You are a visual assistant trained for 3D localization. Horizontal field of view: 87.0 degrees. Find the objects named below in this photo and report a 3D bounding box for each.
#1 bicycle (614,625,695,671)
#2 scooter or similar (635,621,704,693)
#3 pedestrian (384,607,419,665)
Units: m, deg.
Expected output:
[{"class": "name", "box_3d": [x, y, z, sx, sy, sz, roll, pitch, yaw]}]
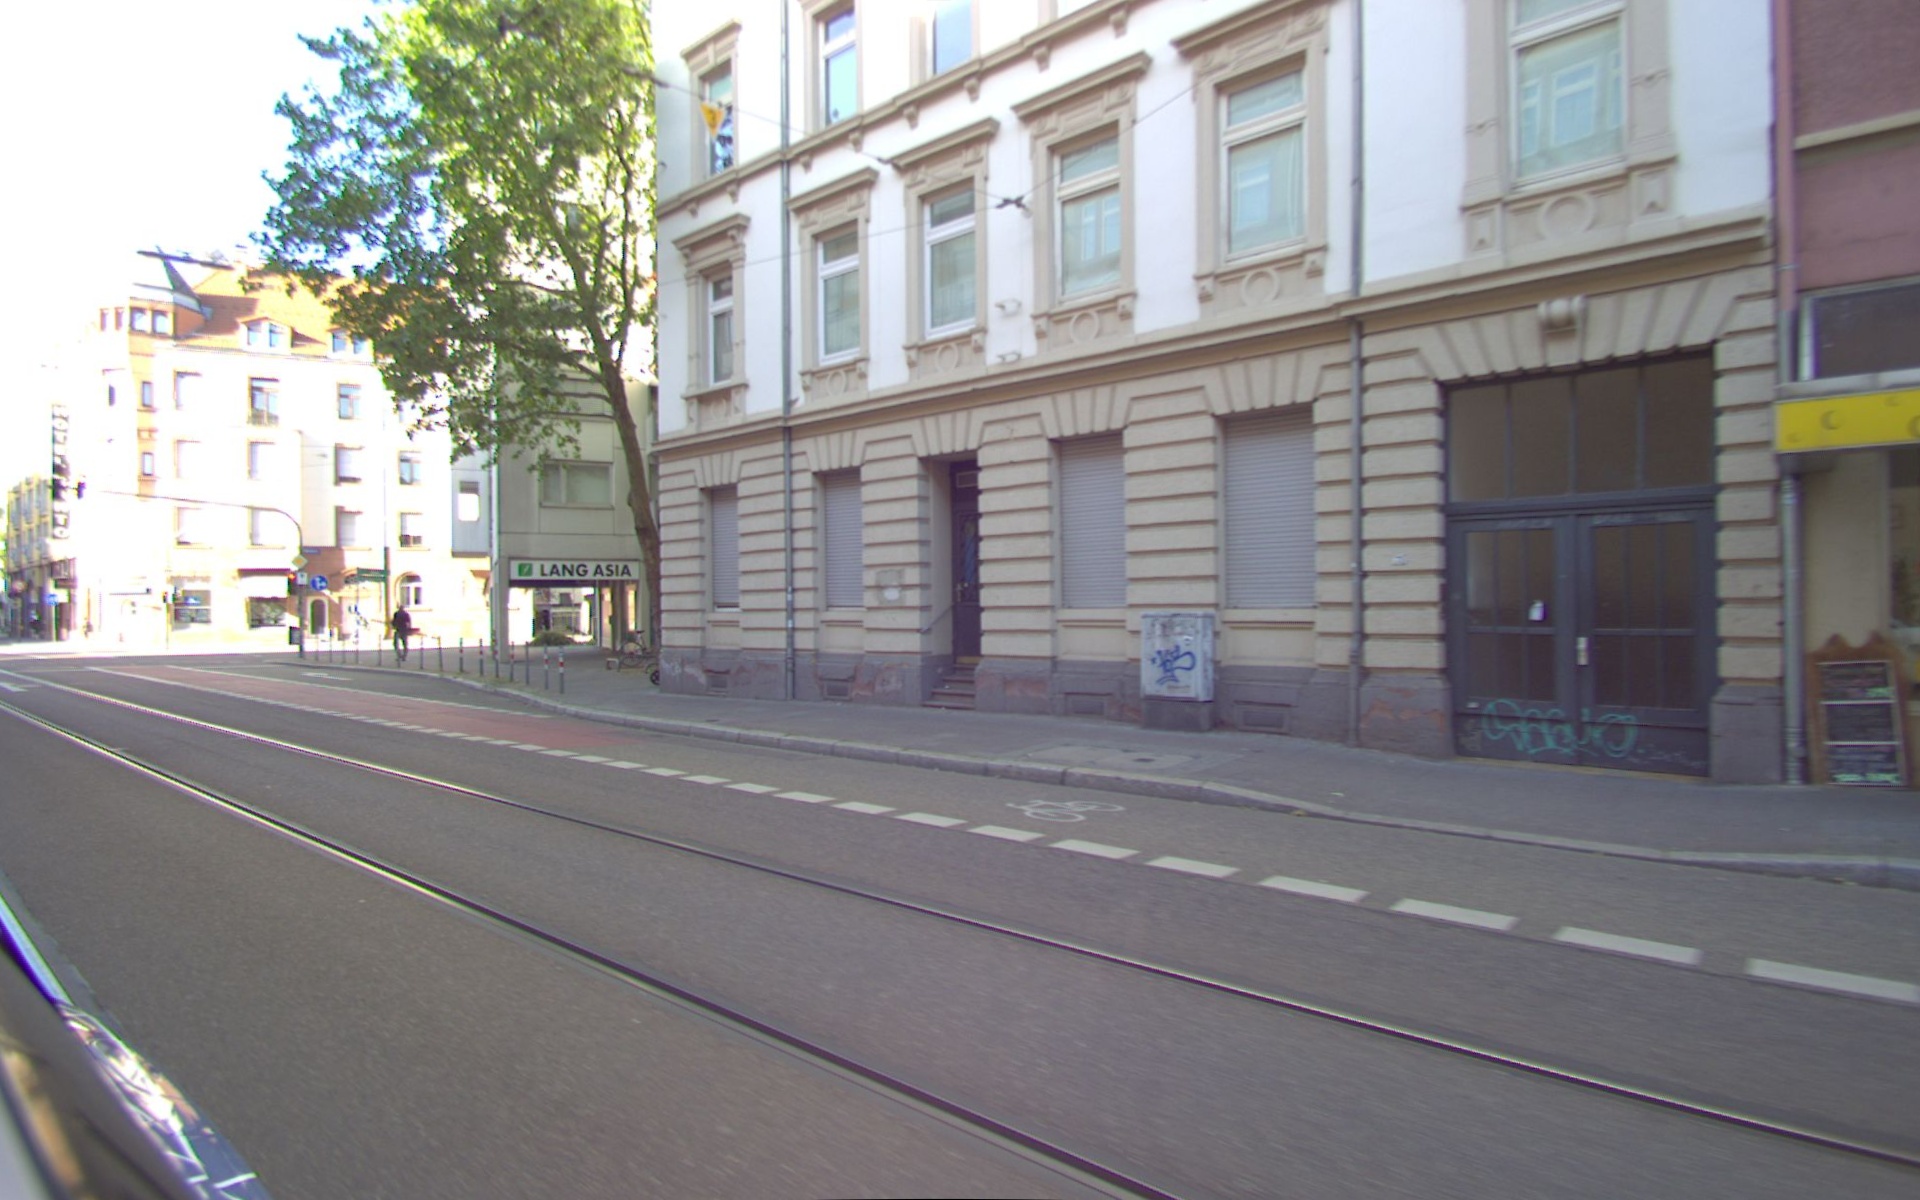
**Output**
[{"class": "bicycle", "box_3d": [-8.272, 1.281, 27.412, 2.012, 1.134, 0.708, -1, 0, -22]}, {"class": "scooter or similar", "box_3d": [-5.470, 1.048, 19.012, 1.382, 1.284, 0.572, -1, 0, 41]}, {"class": "pedestrian", "box_3d": [-18.386, 1.158, 33.343, 0.809, 1.861, 0.784, -1, 0, 44]}]
